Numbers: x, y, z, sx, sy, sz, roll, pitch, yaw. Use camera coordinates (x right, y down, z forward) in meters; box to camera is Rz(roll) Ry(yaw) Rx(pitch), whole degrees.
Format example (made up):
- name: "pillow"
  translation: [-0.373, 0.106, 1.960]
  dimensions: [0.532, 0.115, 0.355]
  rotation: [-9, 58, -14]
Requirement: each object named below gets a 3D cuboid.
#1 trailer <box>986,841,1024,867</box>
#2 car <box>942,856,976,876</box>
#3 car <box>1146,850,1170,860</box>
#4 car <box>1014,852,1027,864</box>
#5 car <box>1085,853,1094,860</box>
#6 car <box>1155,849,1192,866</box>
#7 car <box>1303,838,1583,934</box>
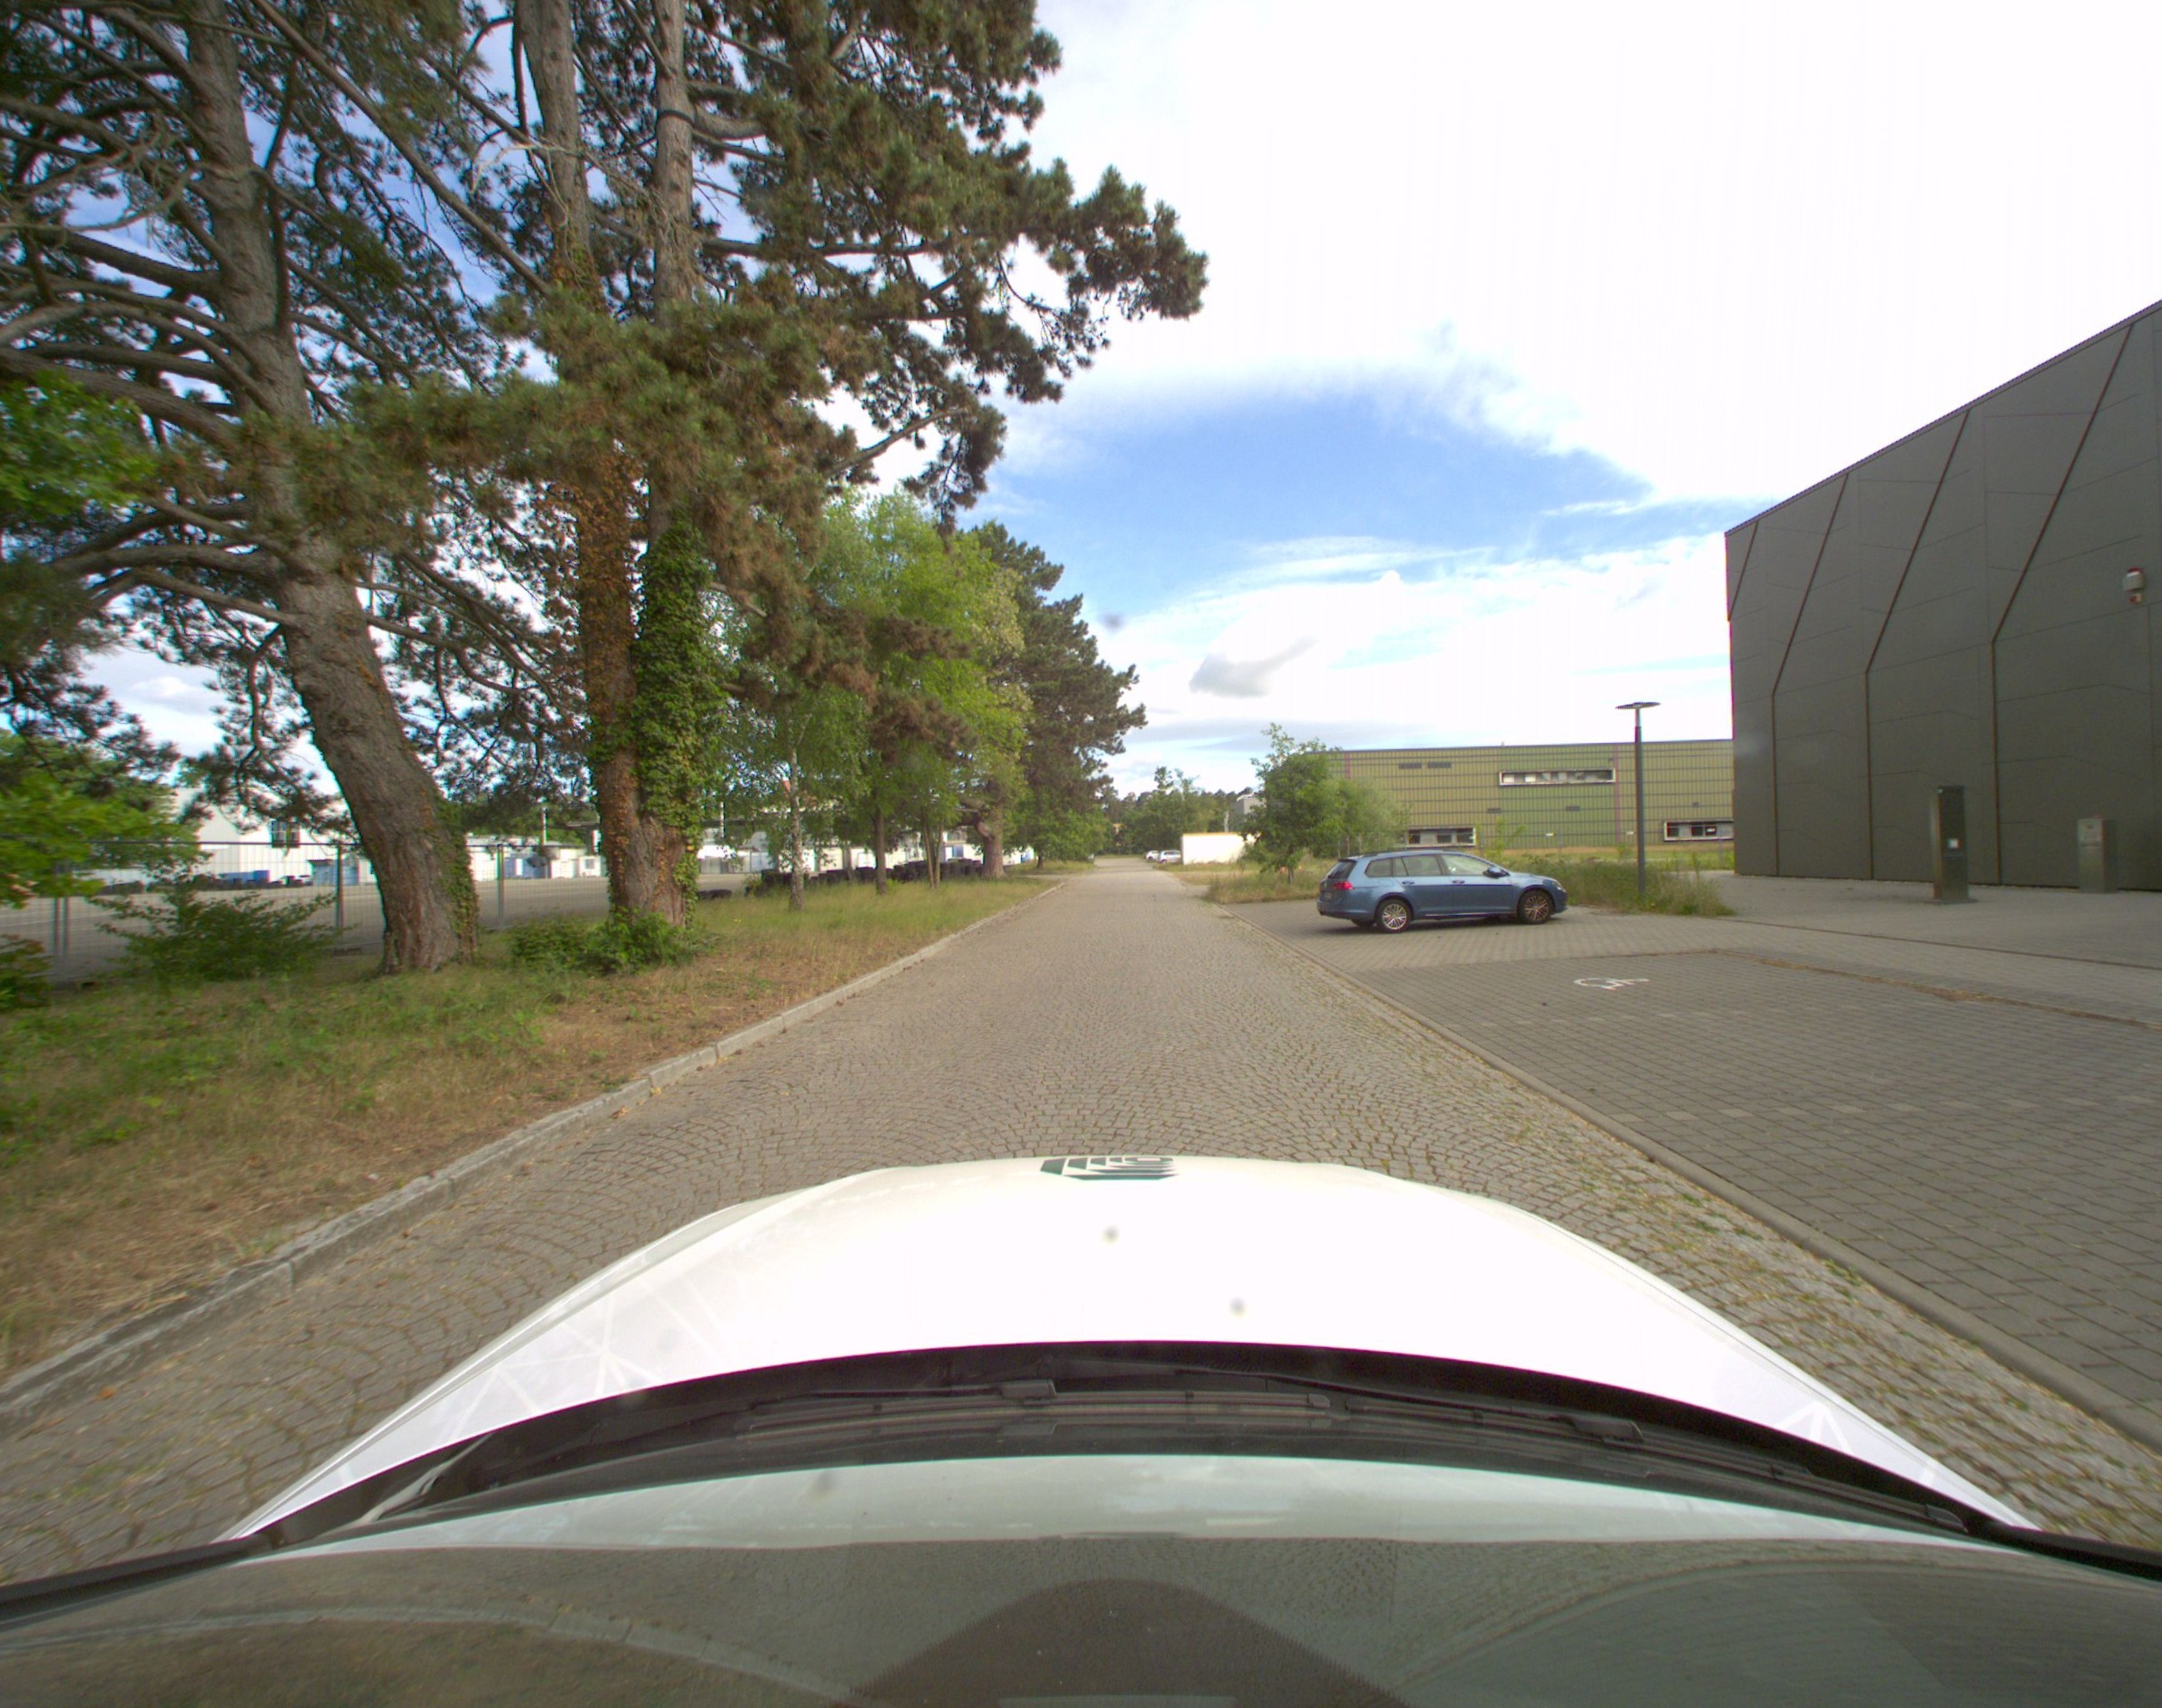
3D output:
- name: "trailer"
  translation: [-9.456, 0.027, 102.581]
  dimensions: [3.144, 3.067, 8.796]
  rotation: [-2, 0, 5]
- name: "car"
  translation: [-9.711, 0.953, 65.080]
  dimensions: [1.757, 1.453, 3.496]
  rotation: [-2, 0, 8]
- name: "car"
  translation: [12.747, 0.194, 135.217]
  dimensions: [4.008, 1.502, 1.550]
  rotation: [-2, 0, 3]
- name: "car"
  translation: [-10.614, 0.617, 143.418]
  dimensions: [1.918, 2.047, 4.600]
  rotation: [-2, 0, 1]
- name: "car"
  translation: [1.651, 0.498, 164.121]
  dimensions: [1.797, 1.535, 4.000]
  rotation: [-2, 0, 1]
- name: "car"
  translation: [10.146, 0.392, 89.099]
  dimensions: [3.837, 1.654, 1.686]
  rotation: [-2, 0, 0]
- name: "car"
  translation: [6.778, 0.574, 15.595]
  dimensions: [4.508, 1.443, 1.823]
  rotation: [-4, 0, -1]
